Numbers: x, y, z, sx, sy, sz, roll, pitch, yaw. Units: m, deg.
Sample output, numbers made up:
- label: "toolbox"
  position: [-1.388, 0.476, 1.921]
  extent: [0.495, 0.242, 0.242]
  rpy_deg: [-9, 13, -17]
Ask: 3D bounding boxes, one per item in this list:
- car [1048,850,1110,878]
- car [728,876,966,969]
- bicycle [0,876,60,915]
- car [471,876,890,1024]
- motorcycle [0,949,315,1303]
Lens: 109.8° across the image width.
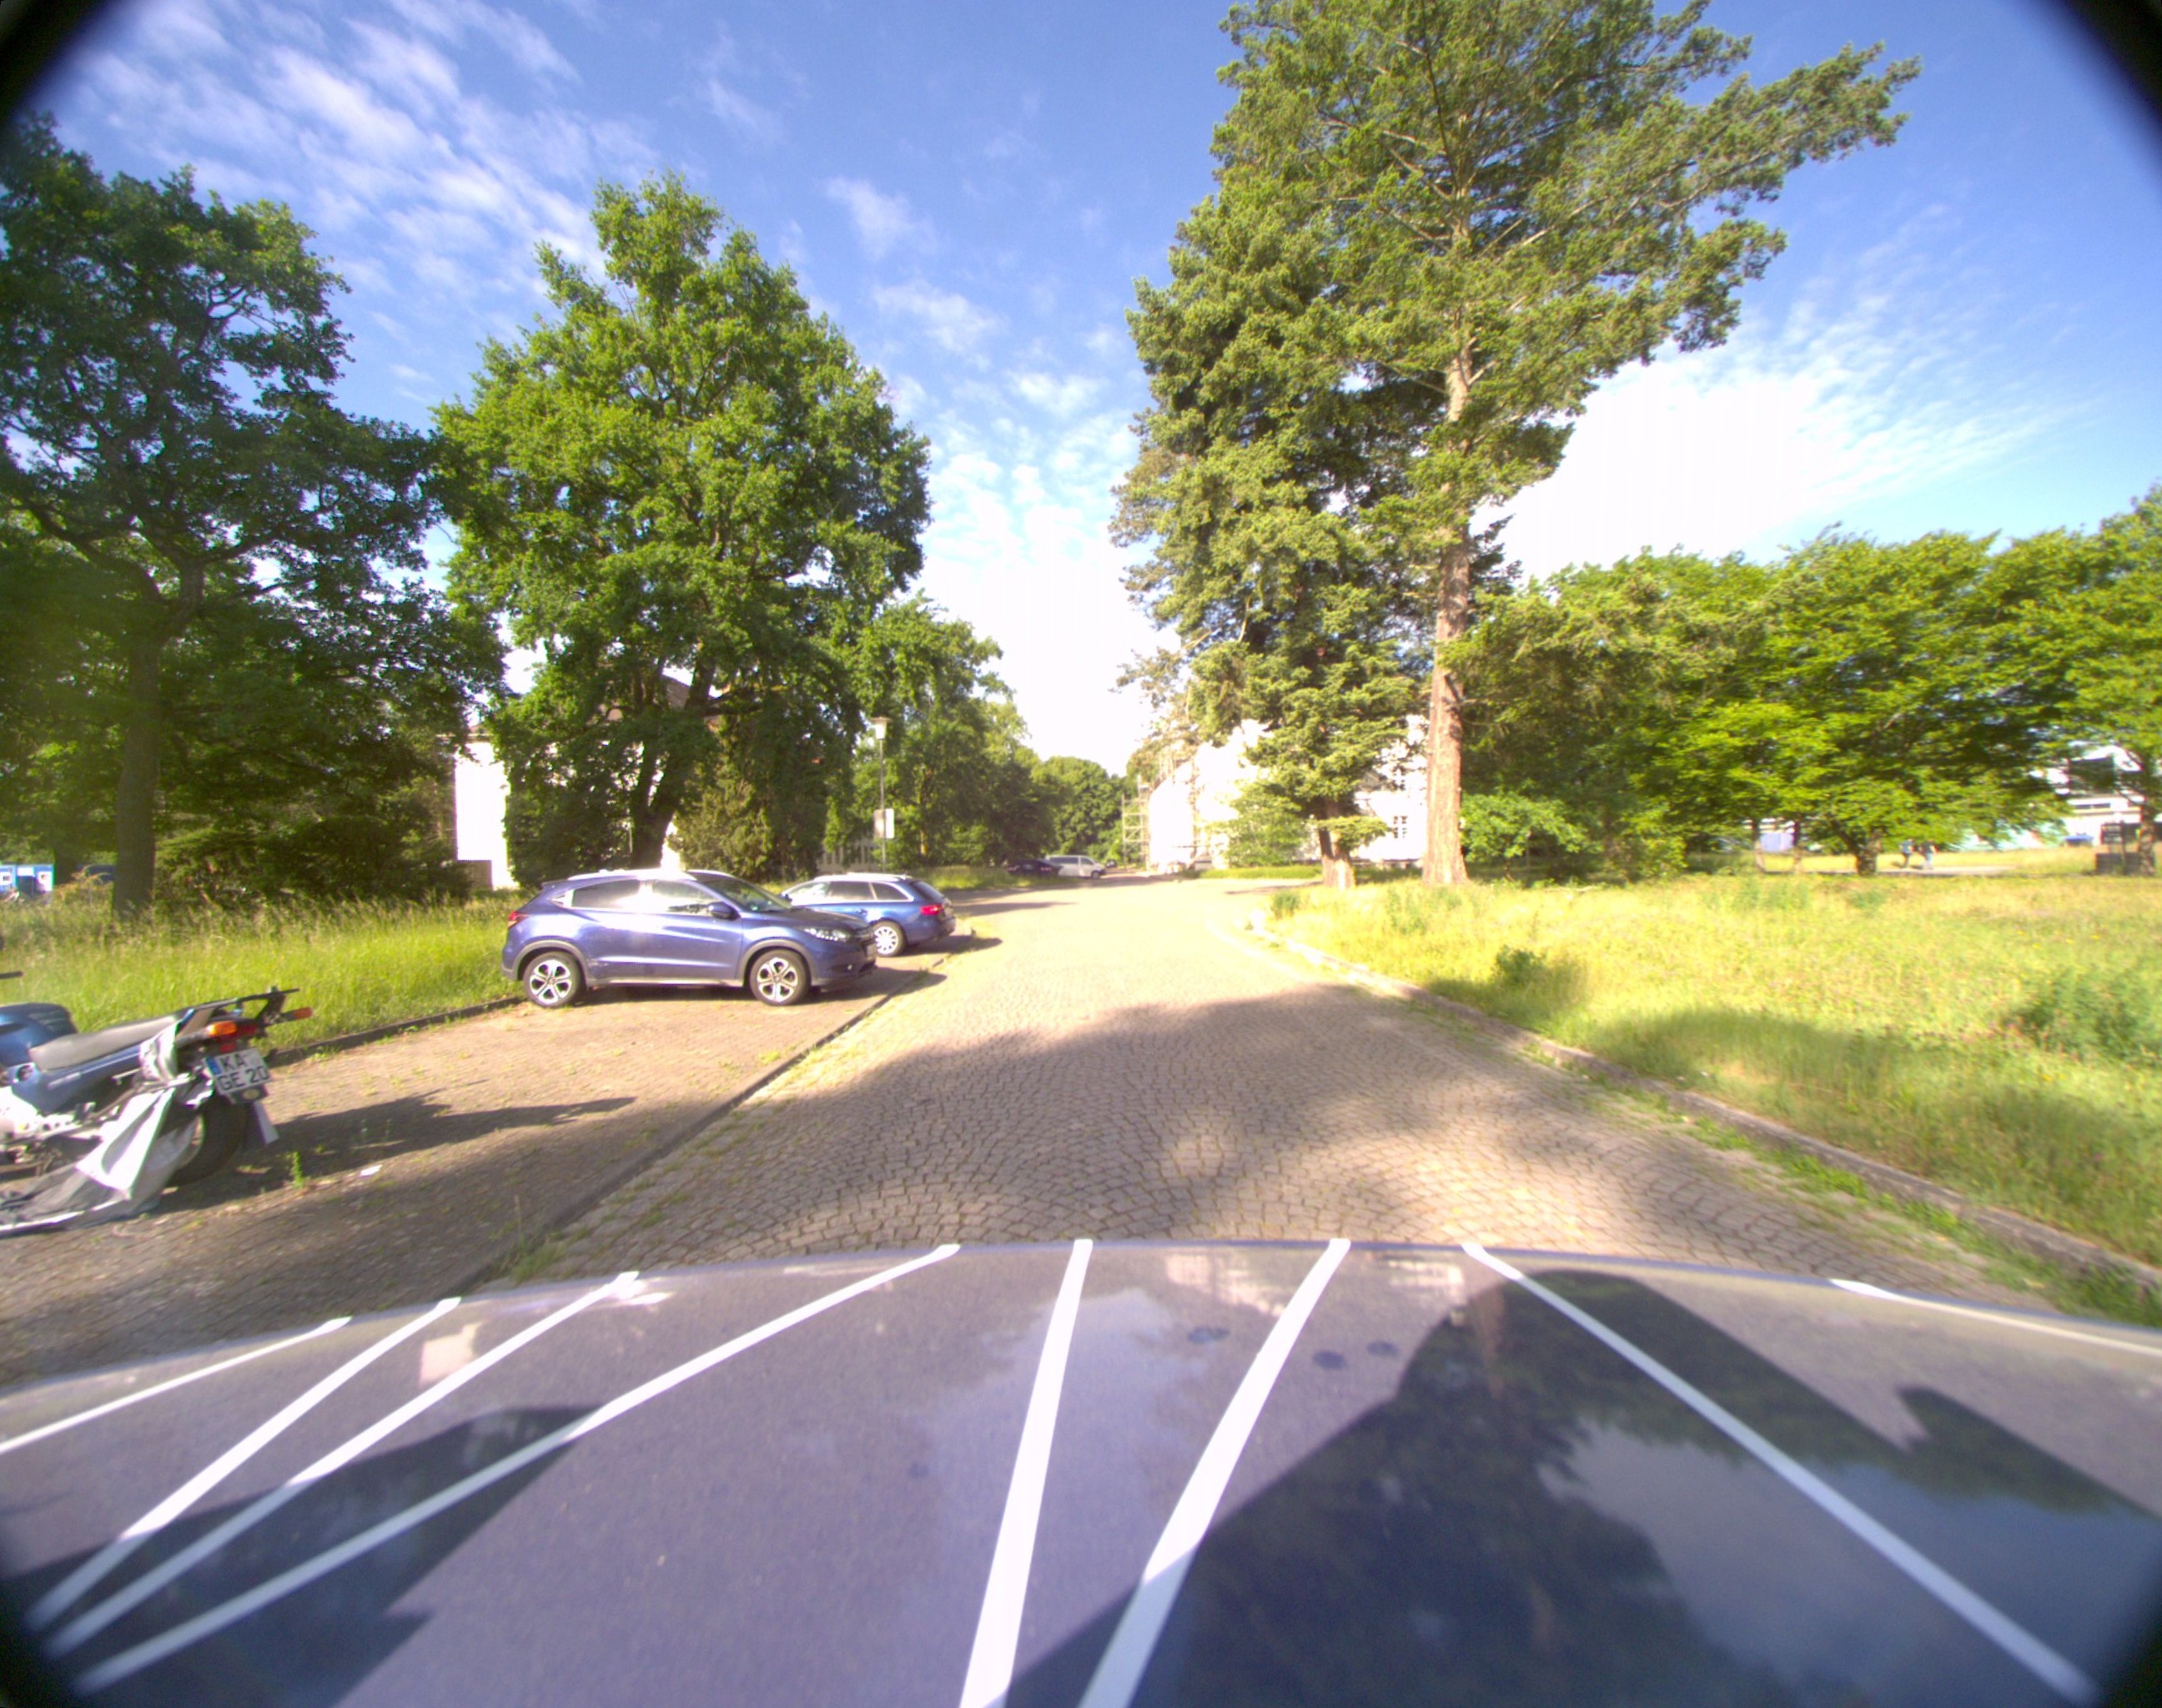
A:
- label: "car"
  position: [-0.160, 0.793, 62.811]
  extent: [4.994, 2.123, 2.164]
  rpy_deg: [-2, 0, -2]
- label: "car"
  position: [-4.214, 1.222, 14.111]
  extent: [3.809, 1.458, 1.747]
  rpy_deg: [-2, 0, 1]
- label: "bicycle"
  position: [-59.893, 2.326, 42.610]
  extent: [0.953, 2.002, 3.129]
  rpy_deg: [-2, 2, -1]
- label: "car"
  position: [-4.718, 1.105, 9.380]
  extent: [4.273, 1.589, 1.651]
  rpy_deg: [0, 0, 0]
- label: "motorcycle"
  position: [-5.186, 1.203, 3.598]
  extent: [2.235, 1.345, 0.879]
  rpy_deg: [-2, 0, 2]
